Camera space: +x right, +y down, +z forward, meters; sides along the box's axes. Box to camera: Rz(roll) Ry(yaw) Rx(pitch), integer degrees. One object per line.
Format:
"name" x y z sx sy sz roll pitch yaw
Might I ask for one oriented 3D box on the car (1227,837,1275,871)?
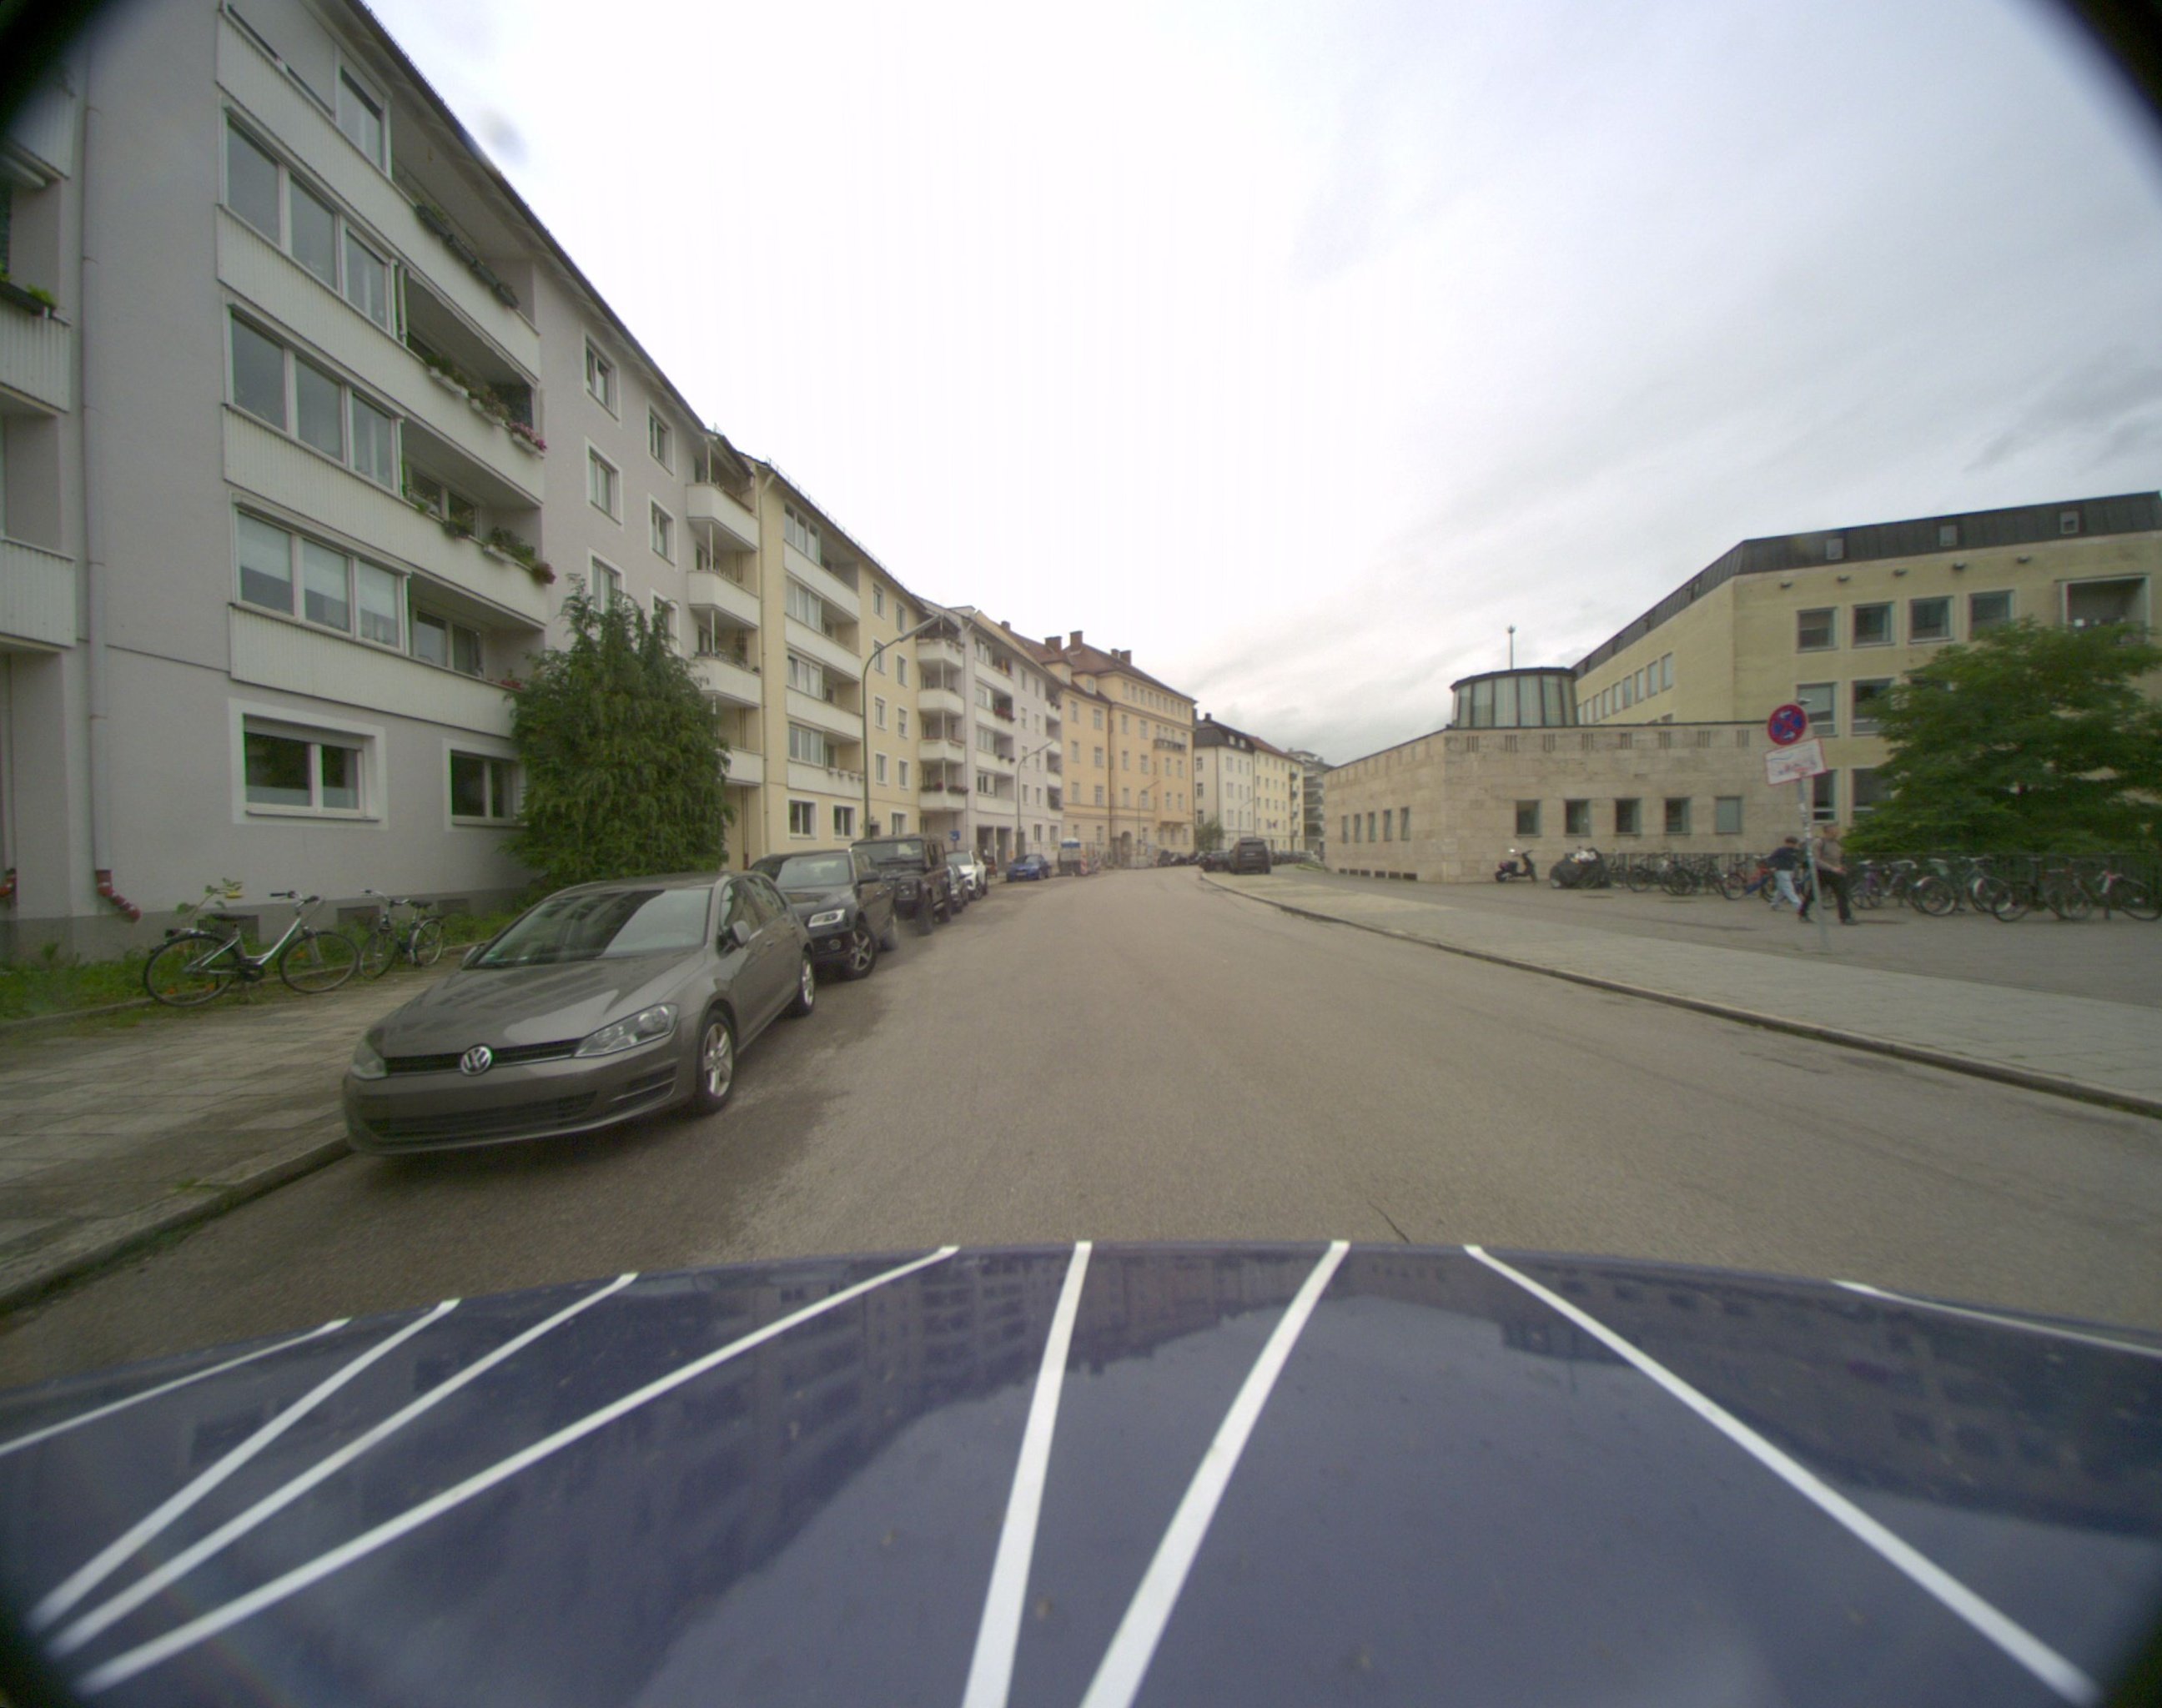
"car" 9.442 -0.011 42.556 1.998 1.761 4.817 -1 0 6

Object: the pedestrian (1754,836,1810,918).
"pedestrian" 14.137 0.458 15.322 0.645 1.592 0.605 -3 0 -28

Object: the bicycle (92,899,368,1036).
"bicycle" -8.657 1.089 7.879 0.468 1.111 1.945 0 0 9

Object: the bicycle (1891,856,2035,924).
"bicycle" 16.015 0.636 13.814 2.051 1.104 0.616 -3 0 -6

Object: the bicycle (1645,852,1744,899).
"bicycle" 16.132 0.557 20.003 2.050 1.104 0.617 -3 0 1

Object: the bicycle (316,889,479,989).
"bicycle" -9.071 1.080 10.201 0.468 1.111 1.943 0 0 -2

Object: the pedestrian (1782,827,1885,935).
"pedestrian" 13.091 0.439 13.240 0.789 1.772 1.013 -3 2 -13

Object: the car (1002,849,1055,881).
"car" -2.715 0.539 40.646 1.834 1.433 4.631 -6 0 7

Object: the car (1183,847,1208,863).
"car" 12.334 0.128 81.725 1.508 1.548 2.868 -3 0 34

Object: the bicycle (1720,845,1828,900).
"bicycle" 15.555 0.408 17.067 2.052 1.104 0.616 -3 0 -10

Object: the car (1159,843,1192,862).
"car" 9.568 -0.137 76.761 1.838 1.720 3.737 -3 0 32

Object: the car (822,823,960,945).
"car" -3.694 0.536 15.605 1.752 2.069 4.515 -3 0 -2

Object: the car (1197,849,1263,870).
"car" 10.112 0.371 51.585 4.011 1.365 1.746 1 2 -21

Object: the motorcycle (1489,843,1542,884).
"motorcycle" 15.772 0.343 27.576 1.568 1.397 0.515 -3 0 -1

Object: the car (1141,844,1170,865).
"car" 7.046 0.006 71.664 1.839 1.788 4.243 -3 0 16

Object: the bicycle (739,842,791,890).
"bicycle" -9.513 0.322 22.983 0.745 1.359 2.469 2 1 -6

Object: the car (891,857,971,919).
"car" -3.907 0.838 20.360 1.663 1.341 3.801 -3 1 -6

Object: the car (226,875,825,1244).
"car" -3.205 0.987 5.544 1.760 1.388 4.040 -3 2 -8

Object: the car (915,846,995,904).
"car" -4.116 0.660 25.590 2.032 1.668 4.612 -3 0 -2

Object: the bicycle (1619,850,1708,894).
"bicycle" 16.476 0.504 21.520 2.051 1.104 0.616 -3 0 -2

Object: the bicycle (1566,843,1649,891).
"bicycle" 15.985 0.392 23.078 2.103 1.344 0.613 -3 0 -3

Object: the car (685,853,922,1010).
"car" -3.444 0.829 10.418 1.663 1.557 4.513 -3 1 -2

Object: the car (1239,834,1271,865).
"car" 15.373 -0.417 66.865 2.146 2.559 6.219 1 1 18

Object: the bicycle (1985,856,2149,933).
"bicycle" 16.003 0.638 12.347 2.051 1.104 0.616 -3 0 -6

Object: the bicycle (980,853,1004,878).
"bicycle" -4.976 0.646 42.698 0.811 1.315 2.776 0 1 5

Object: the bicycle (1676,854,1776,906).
"bicycle" 15.507 0.612 18.278 2.052 1.104 0.616 -3 0 -10

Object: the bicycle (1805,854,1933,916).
"bicycle" 15.844 0.609 15.297 2.051 1.104 0.616 -3 0 -6
